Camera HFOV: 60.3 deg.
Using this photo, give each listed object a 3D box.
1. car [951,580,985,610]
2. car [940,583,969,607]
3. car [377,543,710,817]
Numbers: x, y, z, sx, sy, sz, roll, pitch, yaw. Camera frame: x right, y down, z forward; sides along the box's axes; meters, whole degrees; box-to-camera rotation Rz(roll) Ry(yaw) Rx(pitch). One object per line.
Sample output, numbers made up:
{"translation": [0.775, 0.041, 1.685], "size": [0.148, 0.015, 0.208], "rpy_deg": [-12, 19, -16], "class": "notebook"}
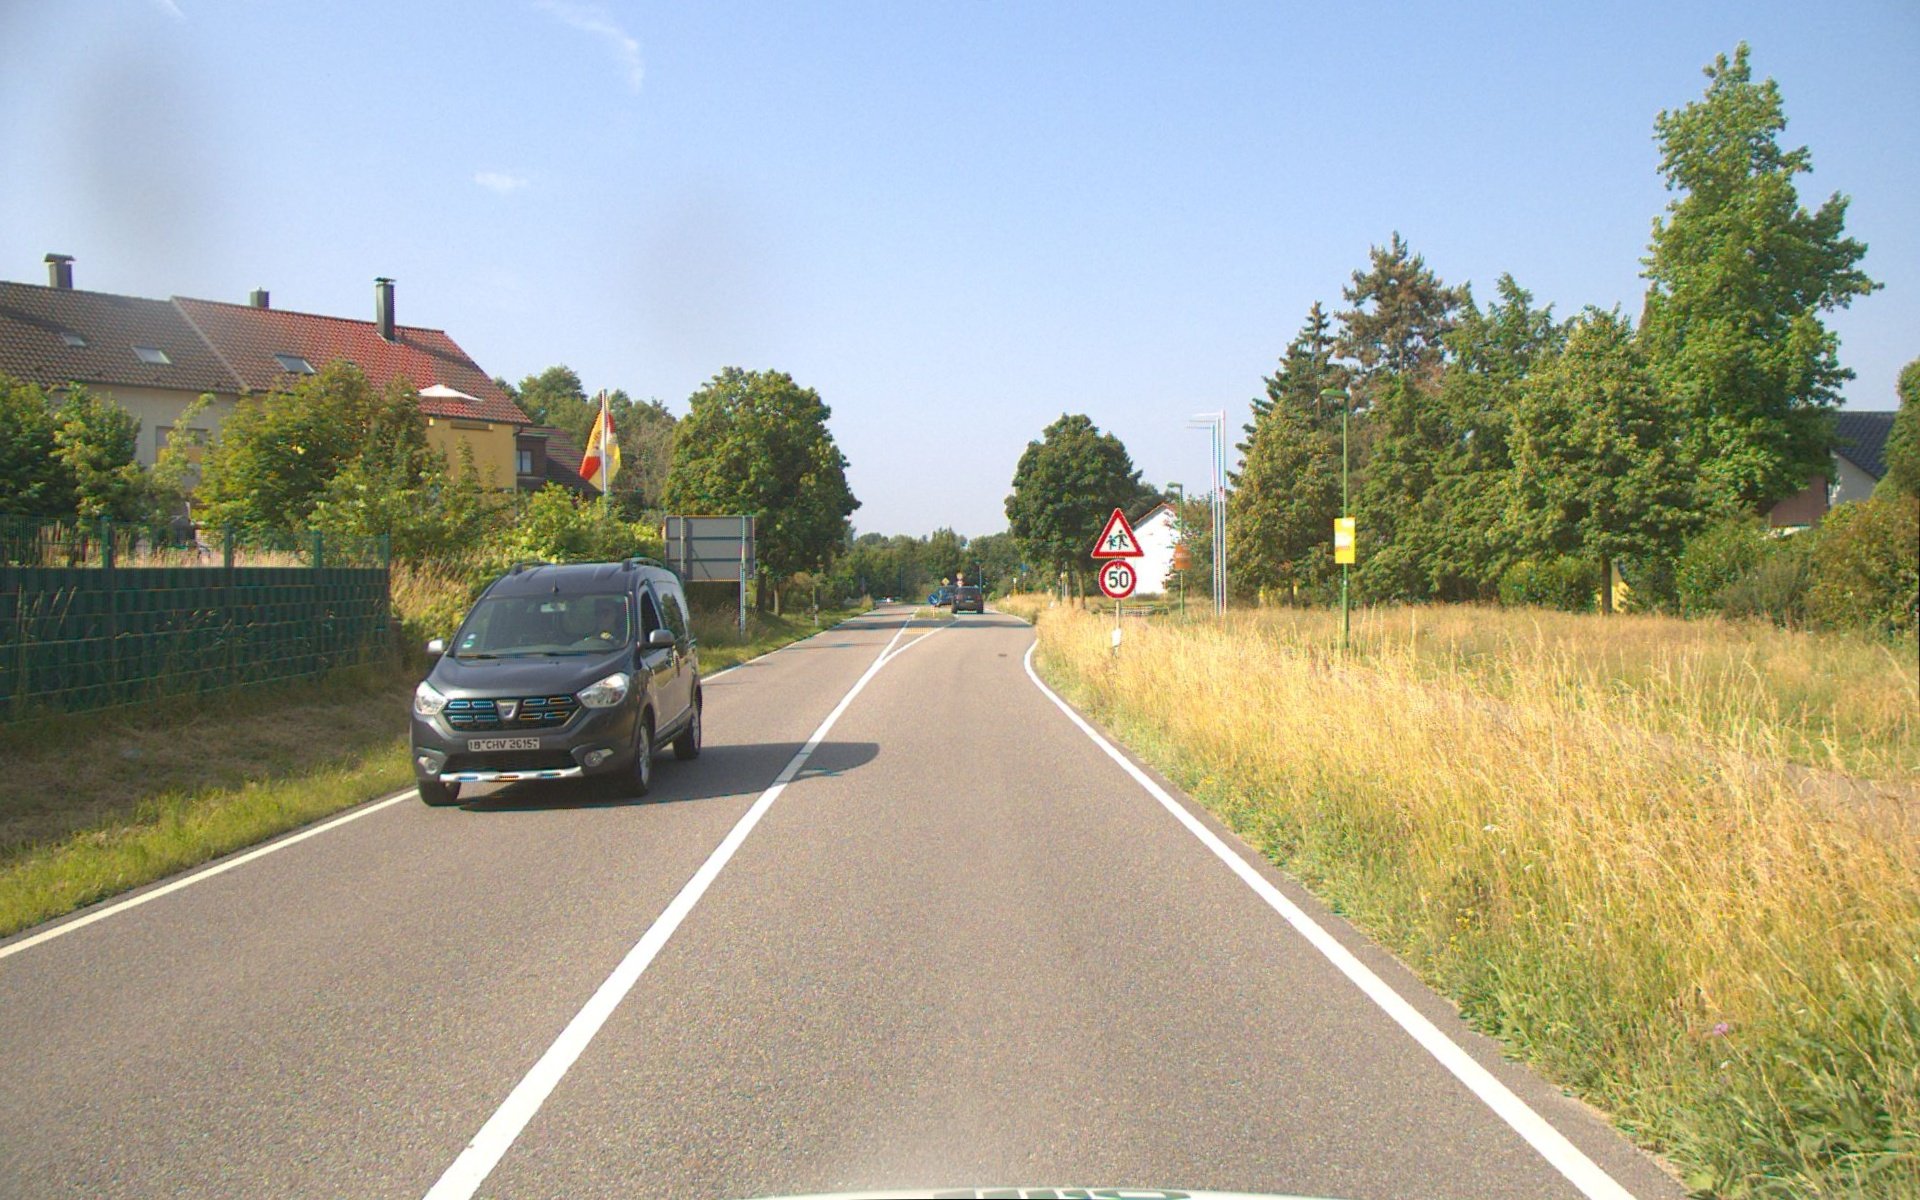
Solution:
{"translation": [0.481, -0.333, 104.246], "size": [1.887, 1.802, 3.998], "rpy_deg": [0, 1, -3], "class": "car"}
{"translation": [-0.464, -0.391, 128.159], "size": [1.965, 1.802, 3.996], "rpy_deg": [-1, 1, -5], "class": "car"}
{"translation": [-3.246, 0.544, 13.774], "size": [1.901, 1.849, 4.238], "rpy_deg": [-2, 0, -4], "class": "car"}
